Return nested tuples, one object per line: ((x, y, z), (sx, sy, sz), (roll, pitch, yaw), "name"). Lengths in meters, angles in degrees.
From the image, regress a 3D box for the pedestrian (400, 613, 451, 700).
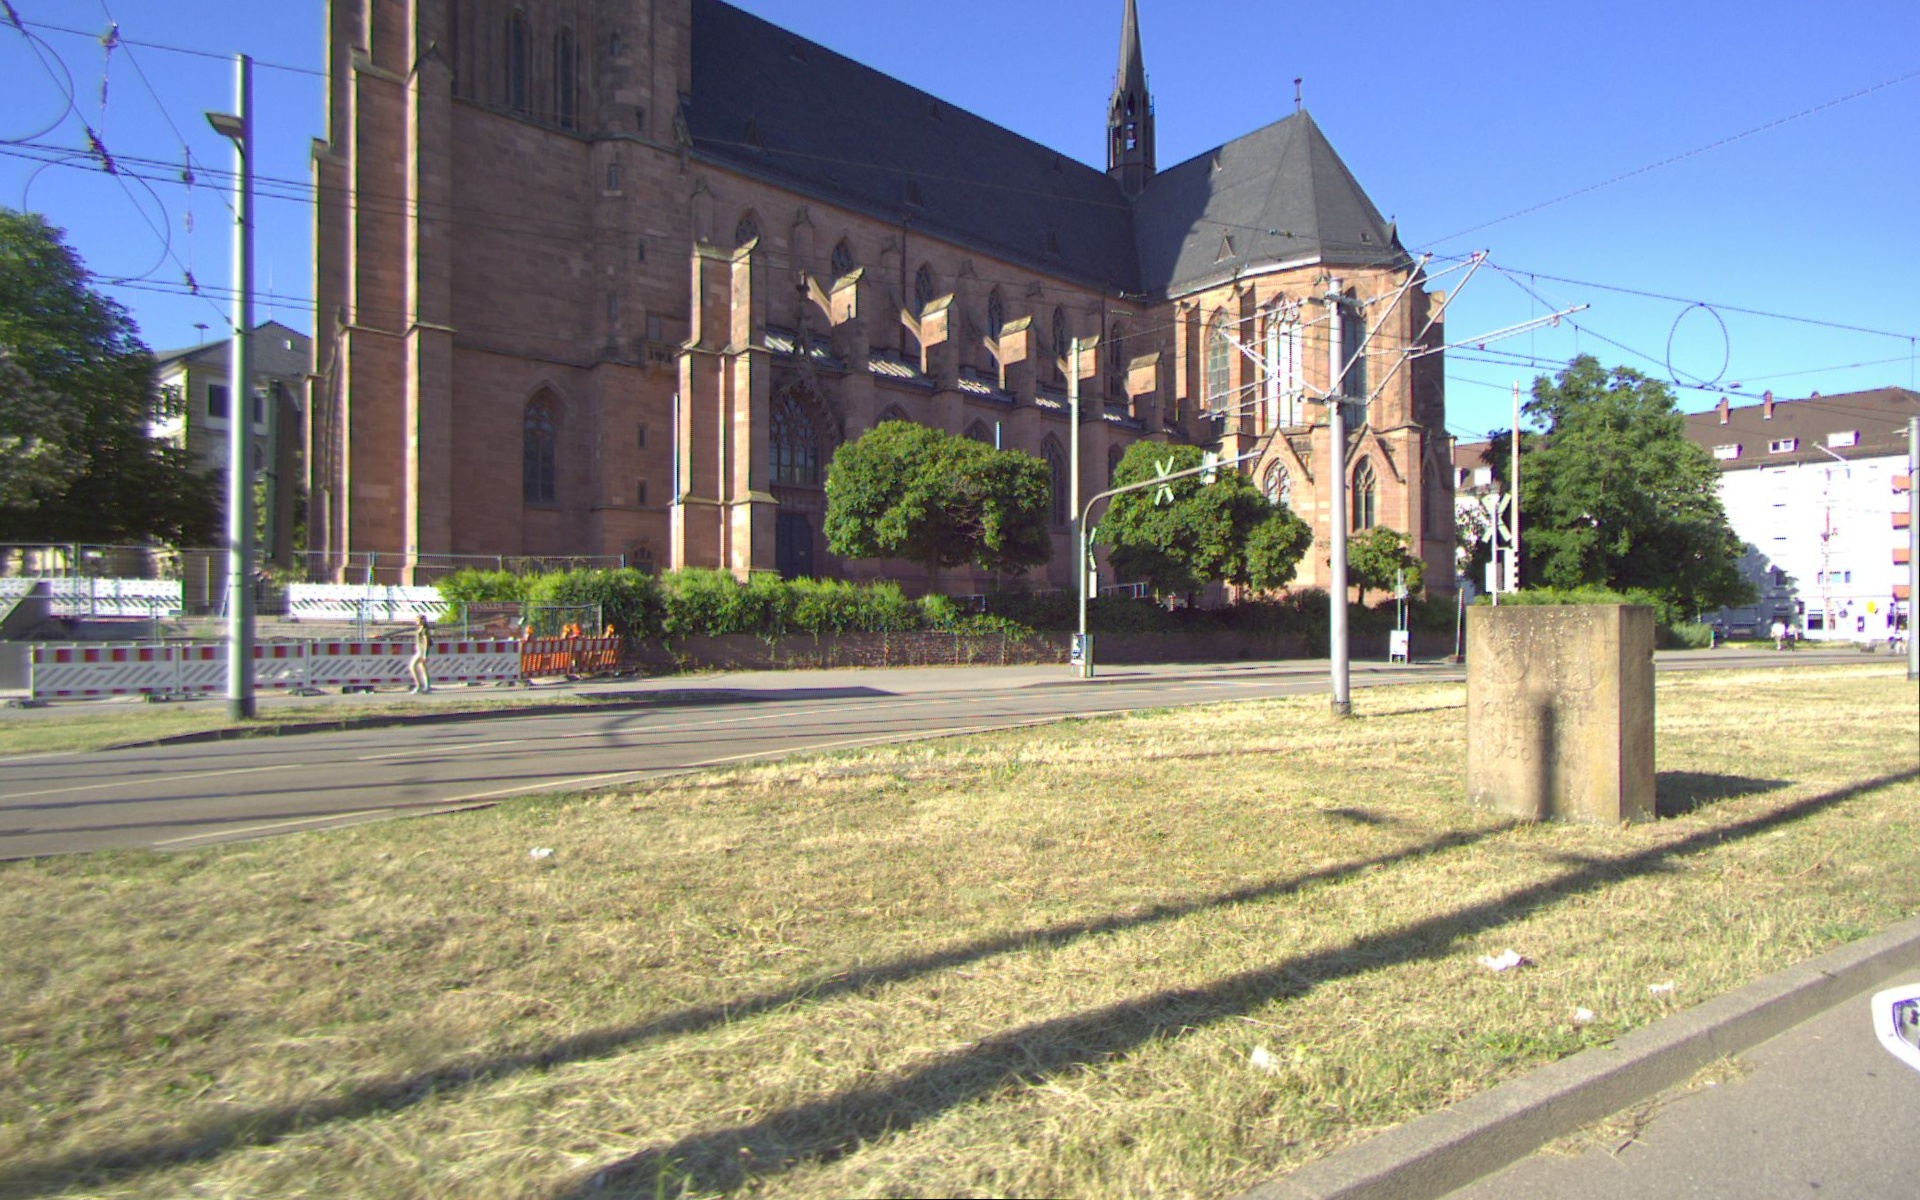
((-11.512, 1.209, 21.631), (0.853, 1.797, 0.724), (-3, -1, -32), "pedestrian")

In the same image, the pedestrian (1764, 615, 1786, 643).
((48.487, 1.734, 59.736), (0.887, 1.619, 0.641), (-3, -1, -28), "pedestrian")

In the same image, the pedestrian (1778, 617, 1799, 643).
((48.803, 1.771, 59.162), (0.905, 1.487, 0.587), (-3, -1, -28), "pedestrian")

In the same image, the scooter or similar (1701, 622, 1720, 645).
((44.408, 1.994, 59.426), (1.215, 1.278, 0.400), (-3, -1, -28), "scooter or similar")

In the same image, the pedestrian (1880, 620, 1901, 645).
((56.148, 1.947, 60.605), (0.583, 1.487, 0.686), (-3, -1, -25), "pedestrian")
